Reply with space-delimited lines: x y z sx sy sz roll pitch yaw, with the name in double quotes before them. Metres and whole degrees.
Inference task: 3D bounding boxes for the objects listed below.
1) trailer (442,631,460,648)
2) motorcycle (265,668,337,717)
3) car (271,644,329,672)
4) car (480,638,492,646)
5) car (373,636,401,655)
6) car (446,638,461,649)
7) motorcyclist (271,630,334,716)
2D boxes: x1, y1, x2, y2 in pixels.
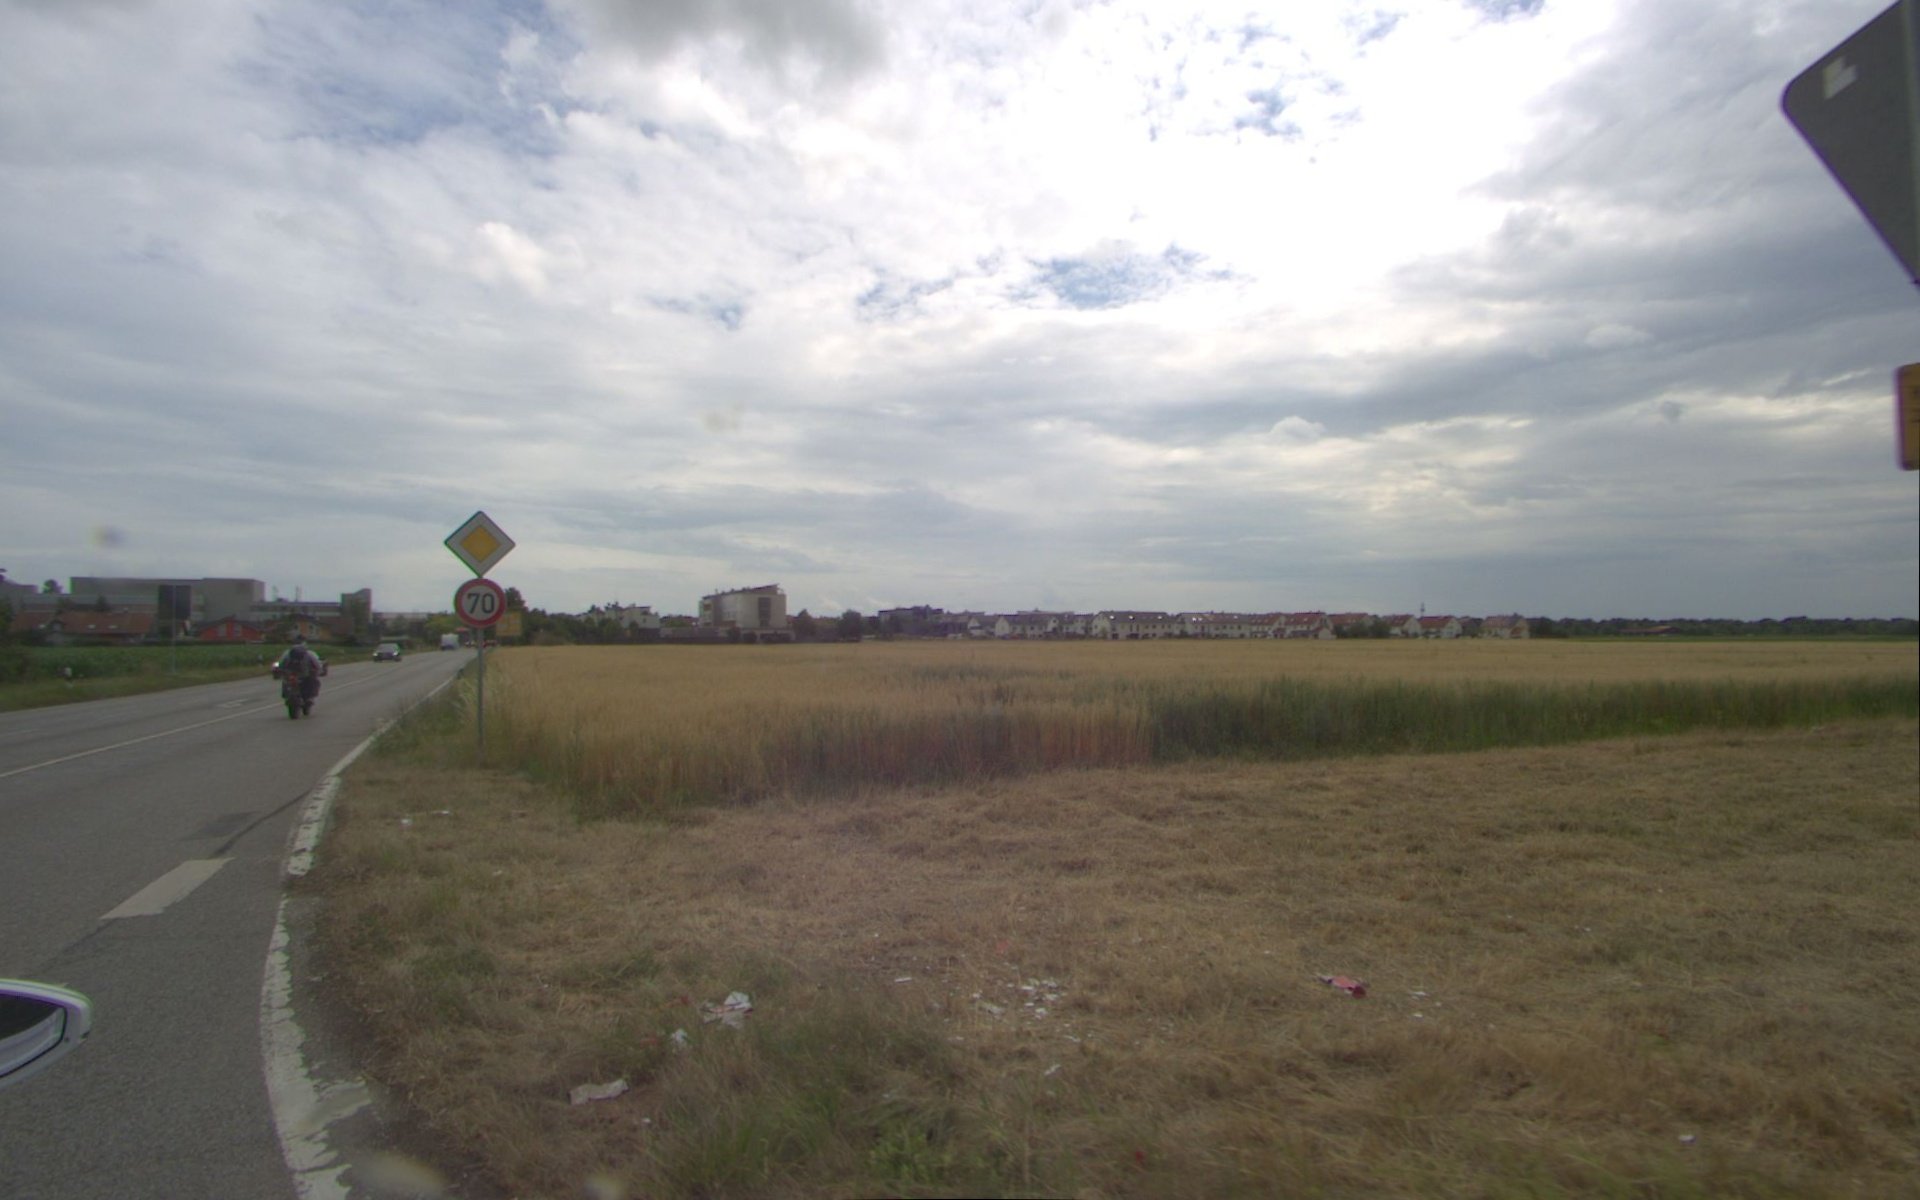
"trailer" -84.107 6.567 165.552 2.294 2.763 7.819 0 -2 -24
"motorcycle" -13.958 1.938 21.274 0.929 0.901 2.139 1 -2 -24
"car" -33.026 2.887 50.201 1.748 1.257 4.198 0 -2 -24
"car" -88.529 7.918 187.110 1.831 1.491 3.988 1 -2 -24
"car" -47.692 3.758 83.383 1.647 1.447 4.289 -1 -1 -25
"car" -80.996 6.904 160.192 1.968 1.721 4.660 0 -2 -24
"motorcyclist" -13.972 1.524 21.318 0.929 1.772 1.196 0 -2 -24
